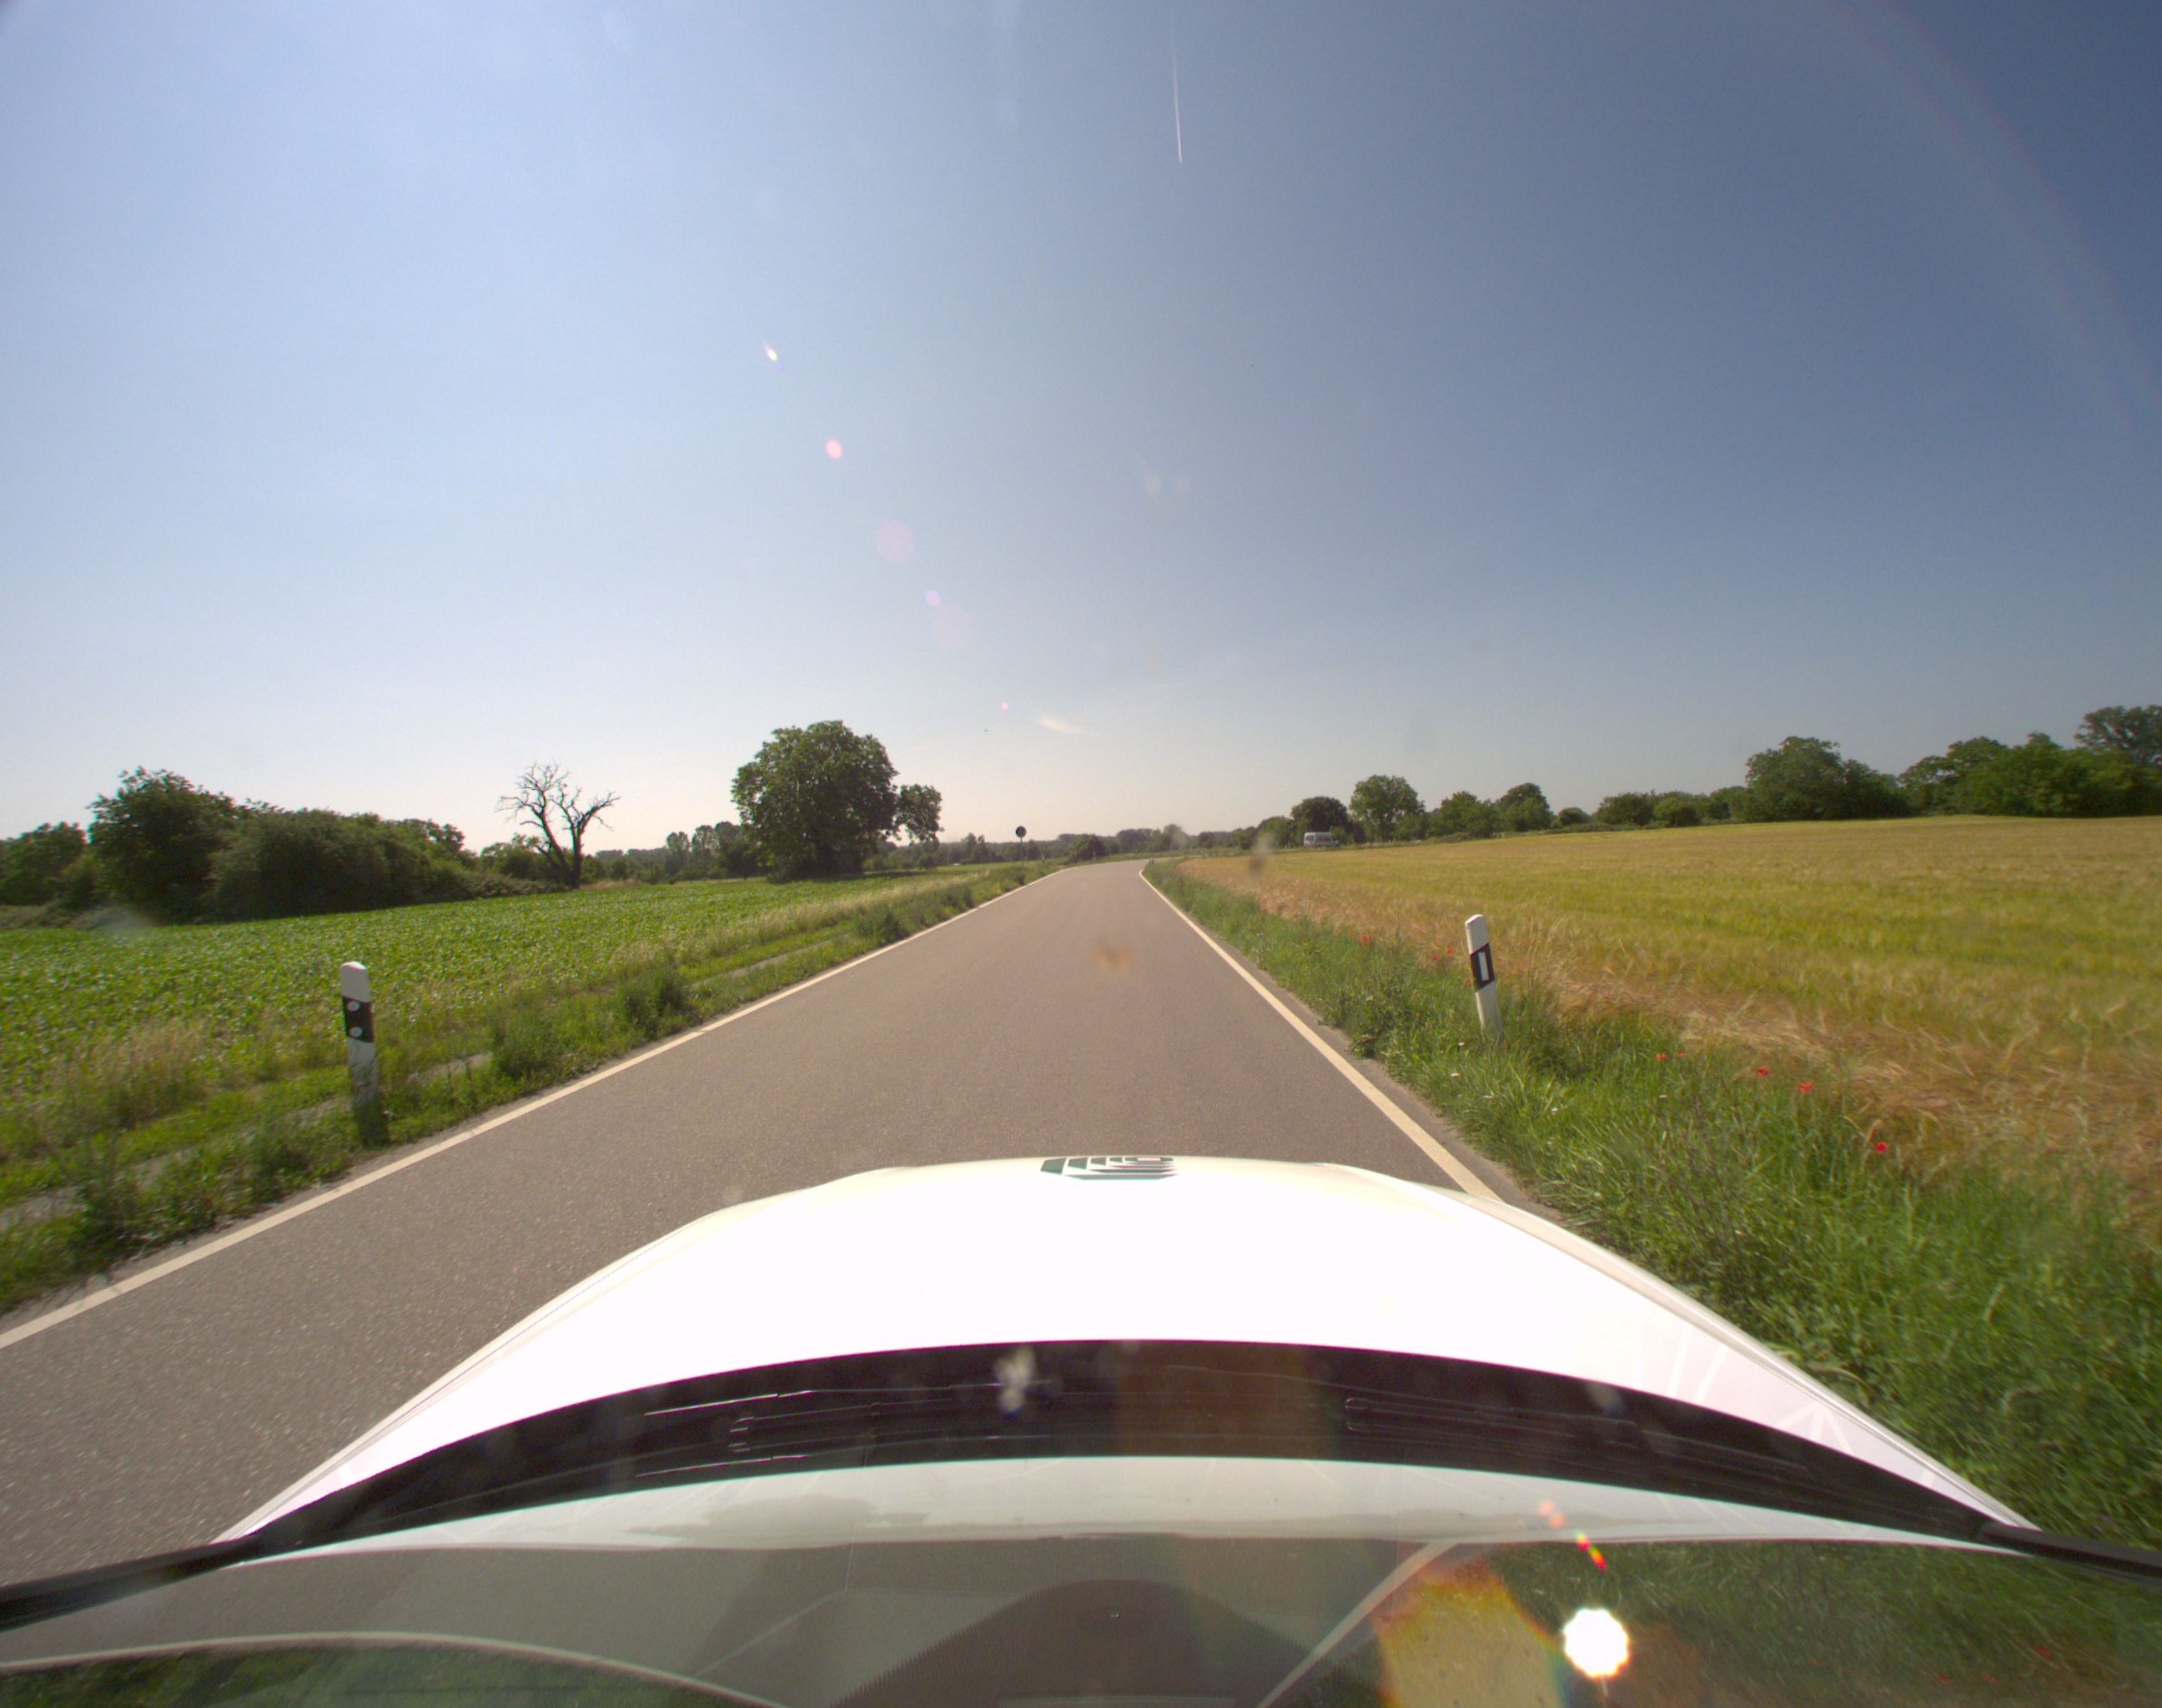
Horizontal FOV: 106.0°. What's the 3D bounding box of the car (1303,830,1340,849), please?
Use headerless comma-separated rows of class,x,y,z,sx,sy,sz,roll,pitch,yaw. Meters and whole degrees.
car,34.272,-2.048,116.163,5.716,2.367,2.086,-4,0,-39
